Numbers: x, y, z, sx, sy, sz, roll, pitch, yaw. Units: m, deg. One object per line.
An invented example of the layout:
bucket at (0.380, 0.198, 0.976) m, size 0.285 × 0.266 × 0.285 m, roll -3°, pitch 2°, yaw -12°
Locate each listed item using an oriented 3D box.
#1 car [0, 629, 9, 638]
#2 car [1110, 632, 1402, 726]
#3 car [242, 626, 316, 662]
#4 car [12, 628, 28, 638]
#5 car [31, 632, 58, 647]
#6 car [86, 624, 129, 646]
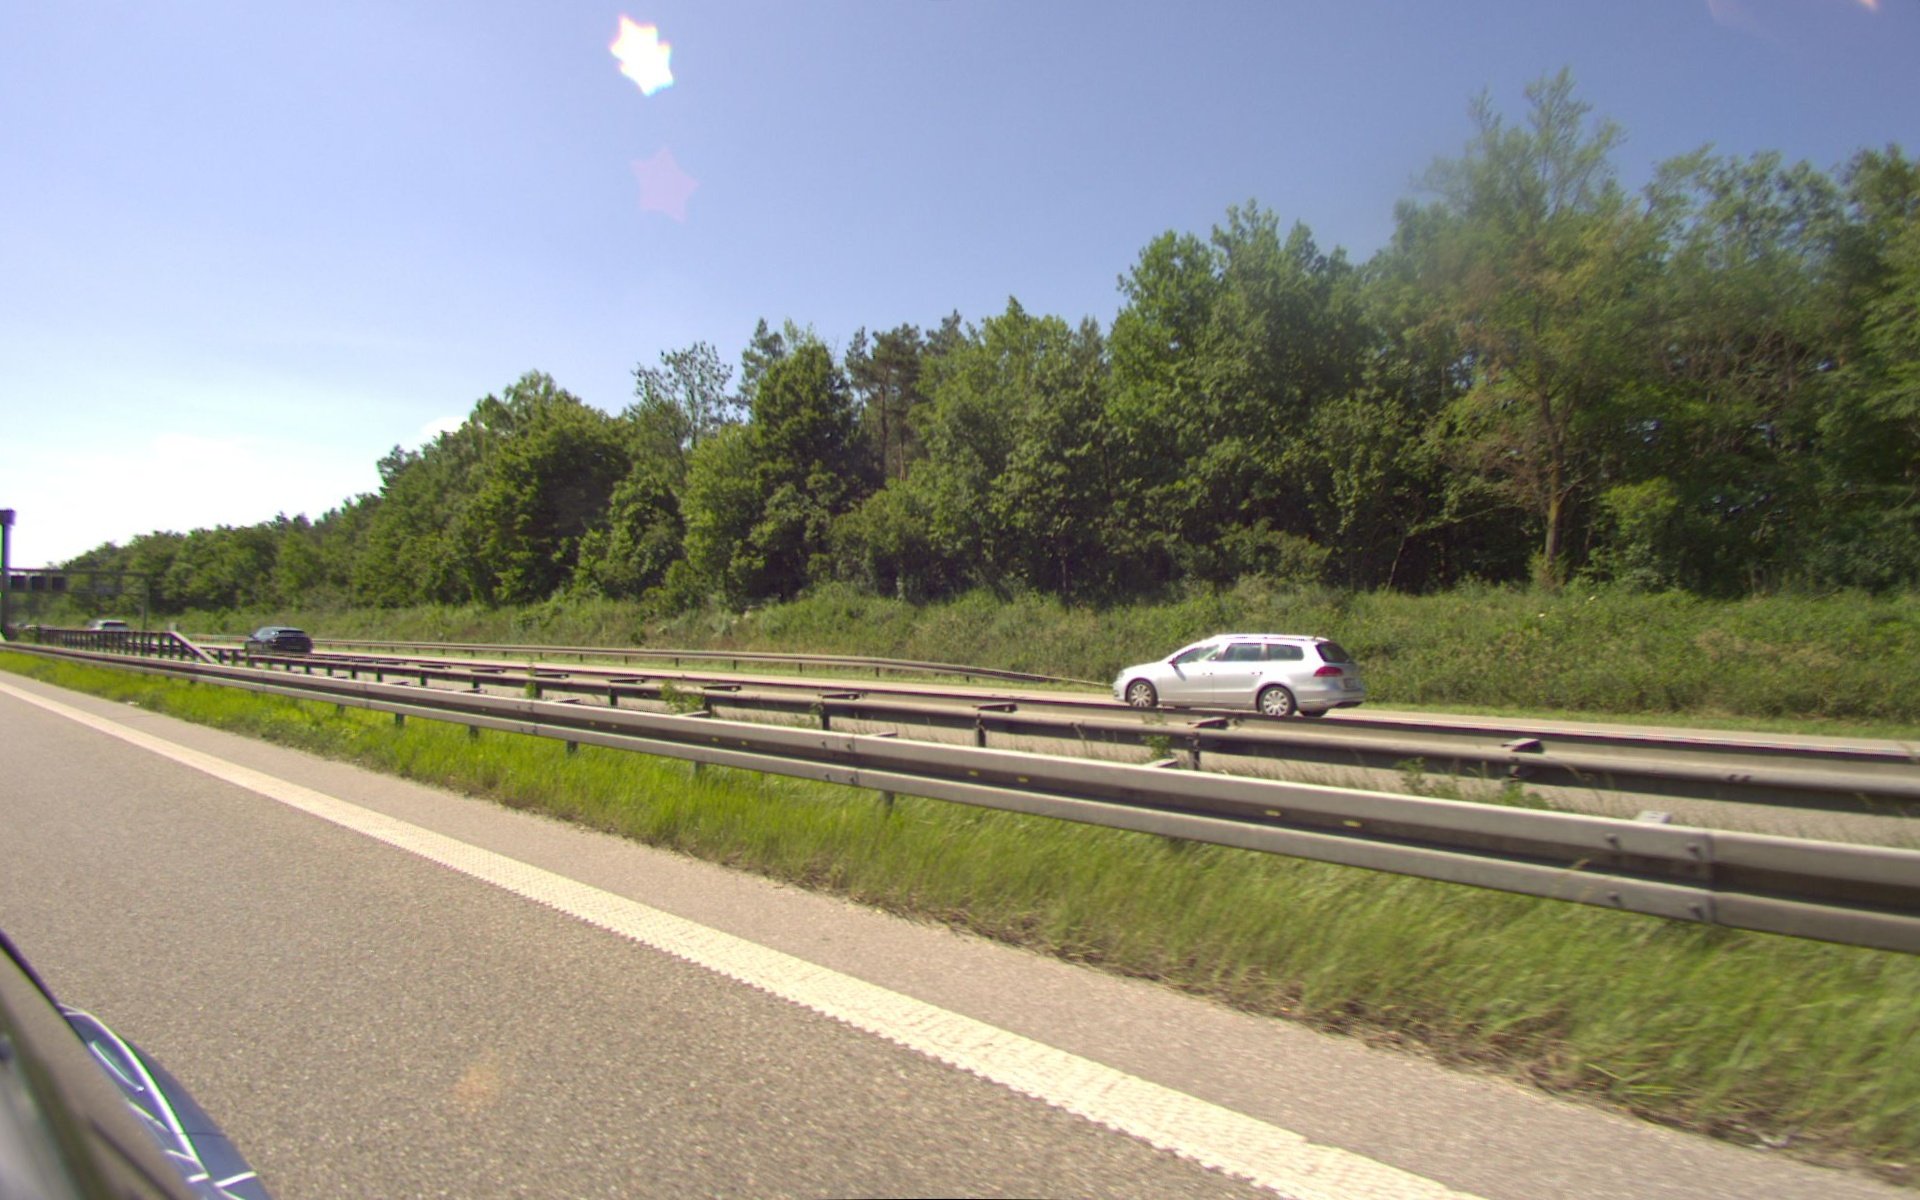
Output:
car at (-164.642, 5.773, 173.895) m, size 3.397 × 1.482 × 1.485 m, roll -1°, pitch -2°, yaw 41°
car at (5.279, 1.372, 18.570) m, size 4.939 × 1.504 × 1.611 m, roll -1°, pitch -4°, yaw 42°
car at (-31.614, 2.038, 46.916) m, size 4.428 × 1.580 × 1.738 m, roll -1°, pitch -4°, yaw 42°
car at (-146.449, 5.076, 157.677) m, size 3.387 × 1.506 × 1.522 m, roll -1°, pitch -2°, yaw 40°
car at (-94.079, 4.023, 104.006) m, size 3.540 × 1.453 × 1.578 m, roll -1°, pitch -4°, yaw 41°
car at (-65.513, 2.680, 77.763) m, size 5.538 × 1.646 × 1.758 m, roll -2°, pitch -4°, yaw 42°
